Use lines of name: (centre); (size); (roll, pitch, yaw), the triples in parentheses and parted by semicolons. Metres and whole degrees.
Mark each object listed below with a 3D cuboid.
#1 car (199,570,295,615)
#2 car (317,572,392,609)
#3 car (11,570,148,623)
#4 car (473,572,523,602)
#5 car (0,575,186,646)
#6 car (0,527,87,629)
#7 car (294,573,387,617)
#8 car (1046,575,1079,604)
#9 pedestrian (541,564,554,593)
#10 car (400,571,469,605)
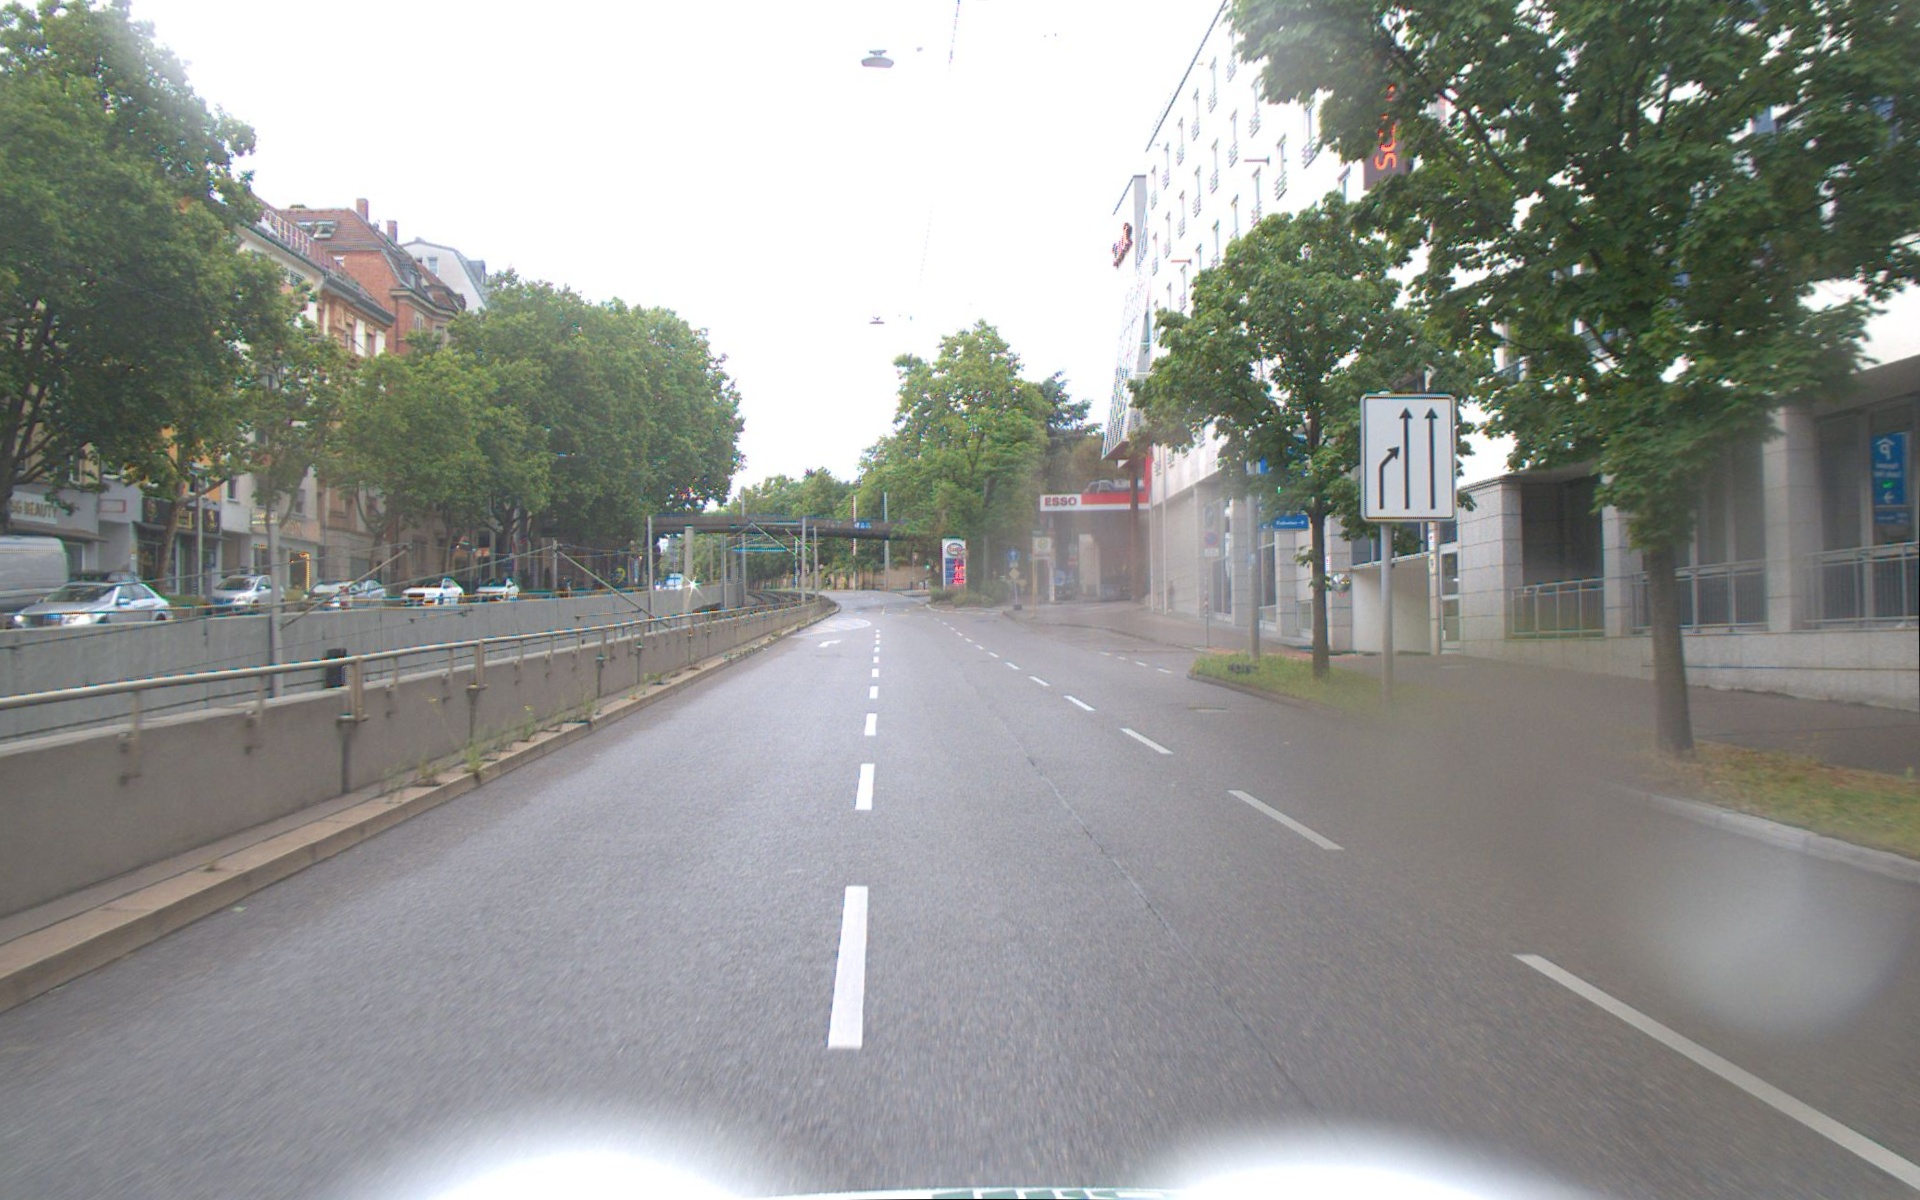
car: (-26.588, -0.294, 61.811); (1.757, 1.598, 4.207); (1, 1, -1)
car: (-26.448, -0.420, 72.374); (1.757, 1.536, 4.207); (1, 1, -1)
car: (-26.949, -0.129, 50.823); (1.758, 1.536, 4.671); (1, 1, -1)
car: (-26.337, -0.774, 94.414); (1.758, 1.639, 4.111); (1, 1, -2)
car: (-20.152, 0.206, 38.702); (1.809, 1.536, 4.821); (1, 1, 0)
car: (-26.574, -0.618, 44.626); (2.402, 2.709, 6.930); (1, 1, -1)
car: (-22.692, -0.200, 60.713); (1.808, 1.536, 4.017); (1, 1, 1)
car: (6.371, -0.654, 102.711); (1.735, 1.652, 3.869); (-3, 0, 7)
pedestrian: (-29.106, -1.526, 116.700); (0.655, 2.049, 0.935); (1, -1, 1)
car: (-26.418, -0.612, 83.288); (1.888, 1.629, 5.198); (1, 1, -1)
